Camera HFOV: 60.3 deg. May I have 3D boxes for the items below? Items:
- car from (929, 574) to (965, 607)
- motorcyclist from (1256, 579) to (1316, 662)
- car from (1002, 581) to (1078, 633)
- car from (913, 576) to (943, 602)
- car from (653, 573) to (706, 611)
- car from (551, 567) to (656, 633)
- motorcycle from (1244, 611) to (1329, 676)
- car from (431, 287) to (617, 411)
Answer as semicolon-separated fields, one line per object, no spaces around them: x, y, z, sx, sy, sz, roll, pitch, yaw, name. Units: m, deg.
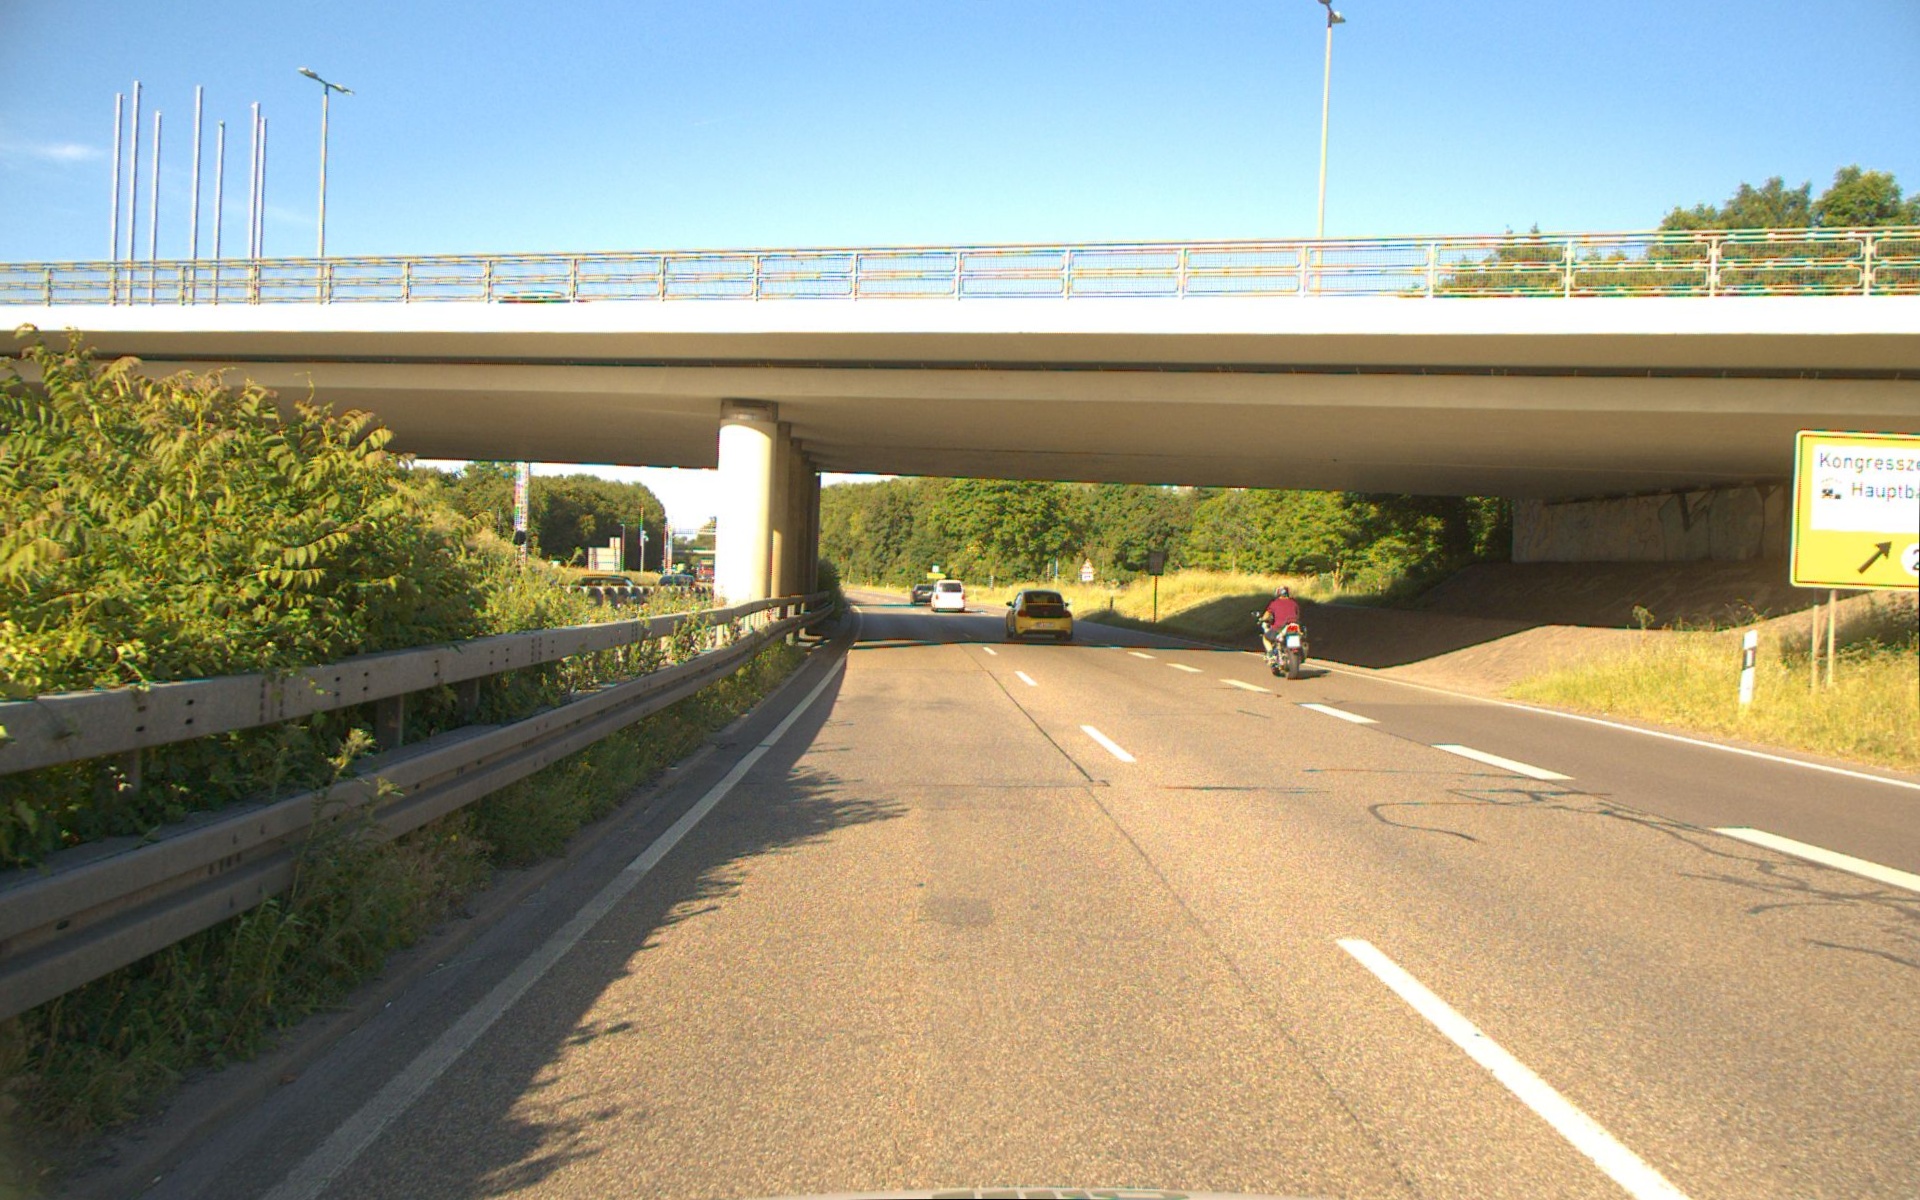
-0.764;-0.516;93.392;1.859;1.798;3.997;0;0;-3;car
5.972;0.371;30.335;0.800;1.472;1.093;1;0;-4;motorcyclist
2.408;0.195;50.530;1.859;1.496;3.997;1;1;-4;car
-2.293;-0.818;117.826;1.860;1.798;3.996;1;1;-5;car
-11.775;-0.341;69.647;1.714;1.532;4.221;2;0;-4;car
-8.707;-0.005;40.736;1.725;1.468;4.109;2;0;-1;car
5.957;0.764;30.386;0.800;1.088;2.833;1;0;-4;motorcycle
-11.408;-6.509;43.324;4.222;2.854;2.081;2;0;22;car
